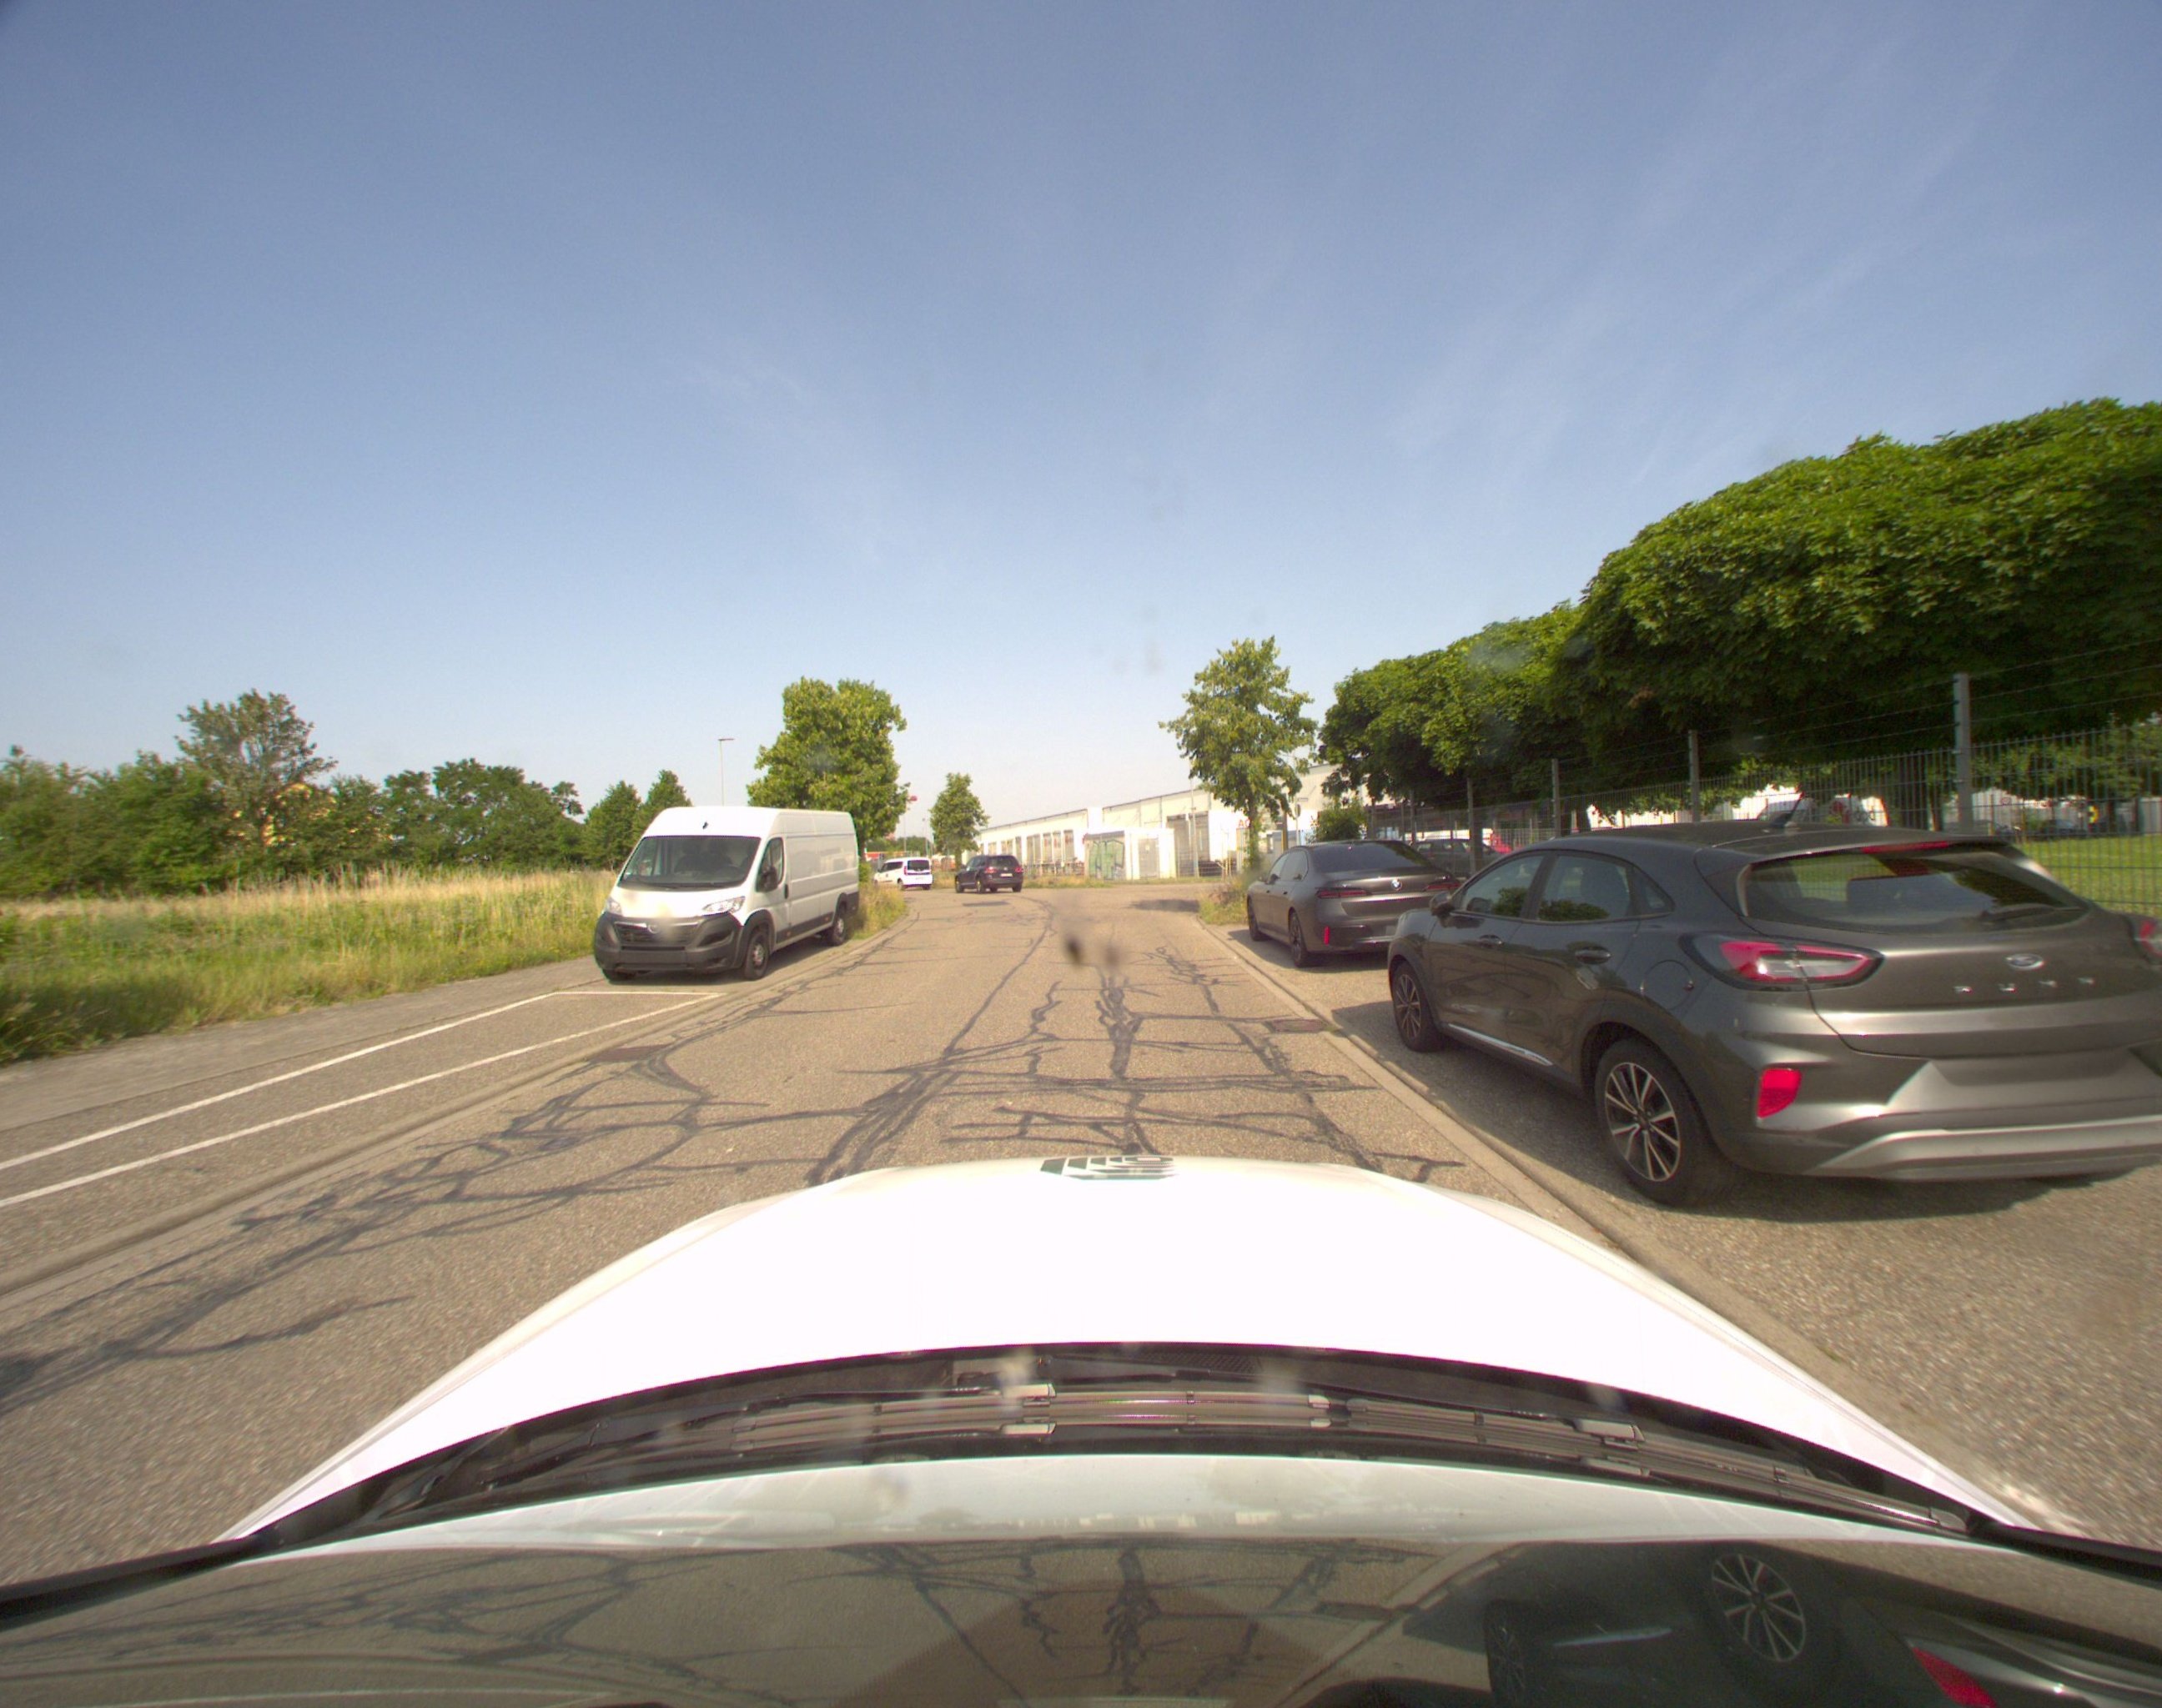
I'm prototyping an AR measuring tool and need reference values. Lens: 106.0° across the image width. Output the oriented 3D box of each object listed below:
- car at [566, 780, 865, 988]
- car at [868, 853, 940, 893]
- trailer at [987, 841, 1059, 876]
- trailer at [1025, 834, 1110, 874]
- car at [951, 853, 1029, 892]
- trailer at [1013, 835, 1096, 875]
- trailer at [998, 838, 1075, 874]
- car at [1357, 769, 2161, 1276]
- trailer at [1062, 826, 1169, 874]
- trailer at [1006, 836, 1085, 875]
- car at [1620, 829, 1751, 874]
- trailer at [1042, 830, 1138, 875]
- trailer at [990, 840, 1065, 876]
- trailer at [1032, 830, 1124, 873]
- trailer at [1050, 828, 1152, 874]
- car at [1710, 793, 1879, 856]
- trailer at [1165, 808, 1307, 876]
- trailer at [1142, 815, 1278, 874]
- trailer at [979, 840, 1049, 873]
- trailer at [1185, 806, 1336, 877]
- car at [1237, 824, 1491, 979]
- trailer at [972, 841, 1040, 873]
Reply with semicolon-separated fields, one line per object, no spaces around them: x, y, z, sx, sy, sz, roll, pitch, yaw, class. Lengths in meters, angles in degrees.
-5.416;0.351;13.412;2.096;2.595;6.501;0;0;-1;car
-10.157;1.118;46.595;2.139;2.110;4.570;-2;-1;-39;car
-6.721;0.506;94.805;7.995;3.894;2.755;0;-1;-23;trailer
-1.316;0.022;80.498;8.066;3.894;2.755;0;-1;-23;trailer
-4.084;0.819;36.006;1.893;1.586;4.072;-2;-1;-31;car
-2.702;0.097;83.128;7.995;3.894;2.755;0;-1;-23;trailer
-4.803;0.234;88.832;7.995;3.894;2.755;0;-1;-23;trailer
3.220;0.557;4.715;1.874;1.574;4.115;-3;-1;2;car
2.903;-0.293;68.054;8.570;3.894;2.755;0;-1;-23;trailer
-3.736;0.176;85.943;7.995;3.894;2.755;0;-1;-23;trailer
23.329;-0.102;31.420;4.490;1.518;1.717;-2;-3;-18;car
0.824;-0.115;73.842;8.341;3.894;2.755;0;-1;-23;trailer
-6.005;0.424;91.652;7.995;3.894;2.755;0;-1;-23;trailer
-0.270;-0.231;76.682;8.341;3.894;2.755;0;-1;-23;trailer
1.764;-0.235;71.006;8.570;3.894;2.755;0;-1;-23;trailer
30.062;-1.260;34.304;6.845;2.483;2.194;-2;1;-18;car
9.855;-0.767;51.628;8.567;3.893;2.756;-3;0;-21;trailer
8.633;-0.662;54.386;8.767;3.761;2.770;-1;-1;-22;trailer
-8.034;0.360;98.338;7.995;3.894;2.755;0;-1;-23;trailer
10.764;-0.739;48.807;8.565;3.894;2.756;-2;-3;-20;trailer
3.592;0.550;11.494;1.873;1.574;5.121;-4;-1;2;car
-9.303;0.347;101.014;7.995;3.894;2.755;0;-1;-23;trailer
